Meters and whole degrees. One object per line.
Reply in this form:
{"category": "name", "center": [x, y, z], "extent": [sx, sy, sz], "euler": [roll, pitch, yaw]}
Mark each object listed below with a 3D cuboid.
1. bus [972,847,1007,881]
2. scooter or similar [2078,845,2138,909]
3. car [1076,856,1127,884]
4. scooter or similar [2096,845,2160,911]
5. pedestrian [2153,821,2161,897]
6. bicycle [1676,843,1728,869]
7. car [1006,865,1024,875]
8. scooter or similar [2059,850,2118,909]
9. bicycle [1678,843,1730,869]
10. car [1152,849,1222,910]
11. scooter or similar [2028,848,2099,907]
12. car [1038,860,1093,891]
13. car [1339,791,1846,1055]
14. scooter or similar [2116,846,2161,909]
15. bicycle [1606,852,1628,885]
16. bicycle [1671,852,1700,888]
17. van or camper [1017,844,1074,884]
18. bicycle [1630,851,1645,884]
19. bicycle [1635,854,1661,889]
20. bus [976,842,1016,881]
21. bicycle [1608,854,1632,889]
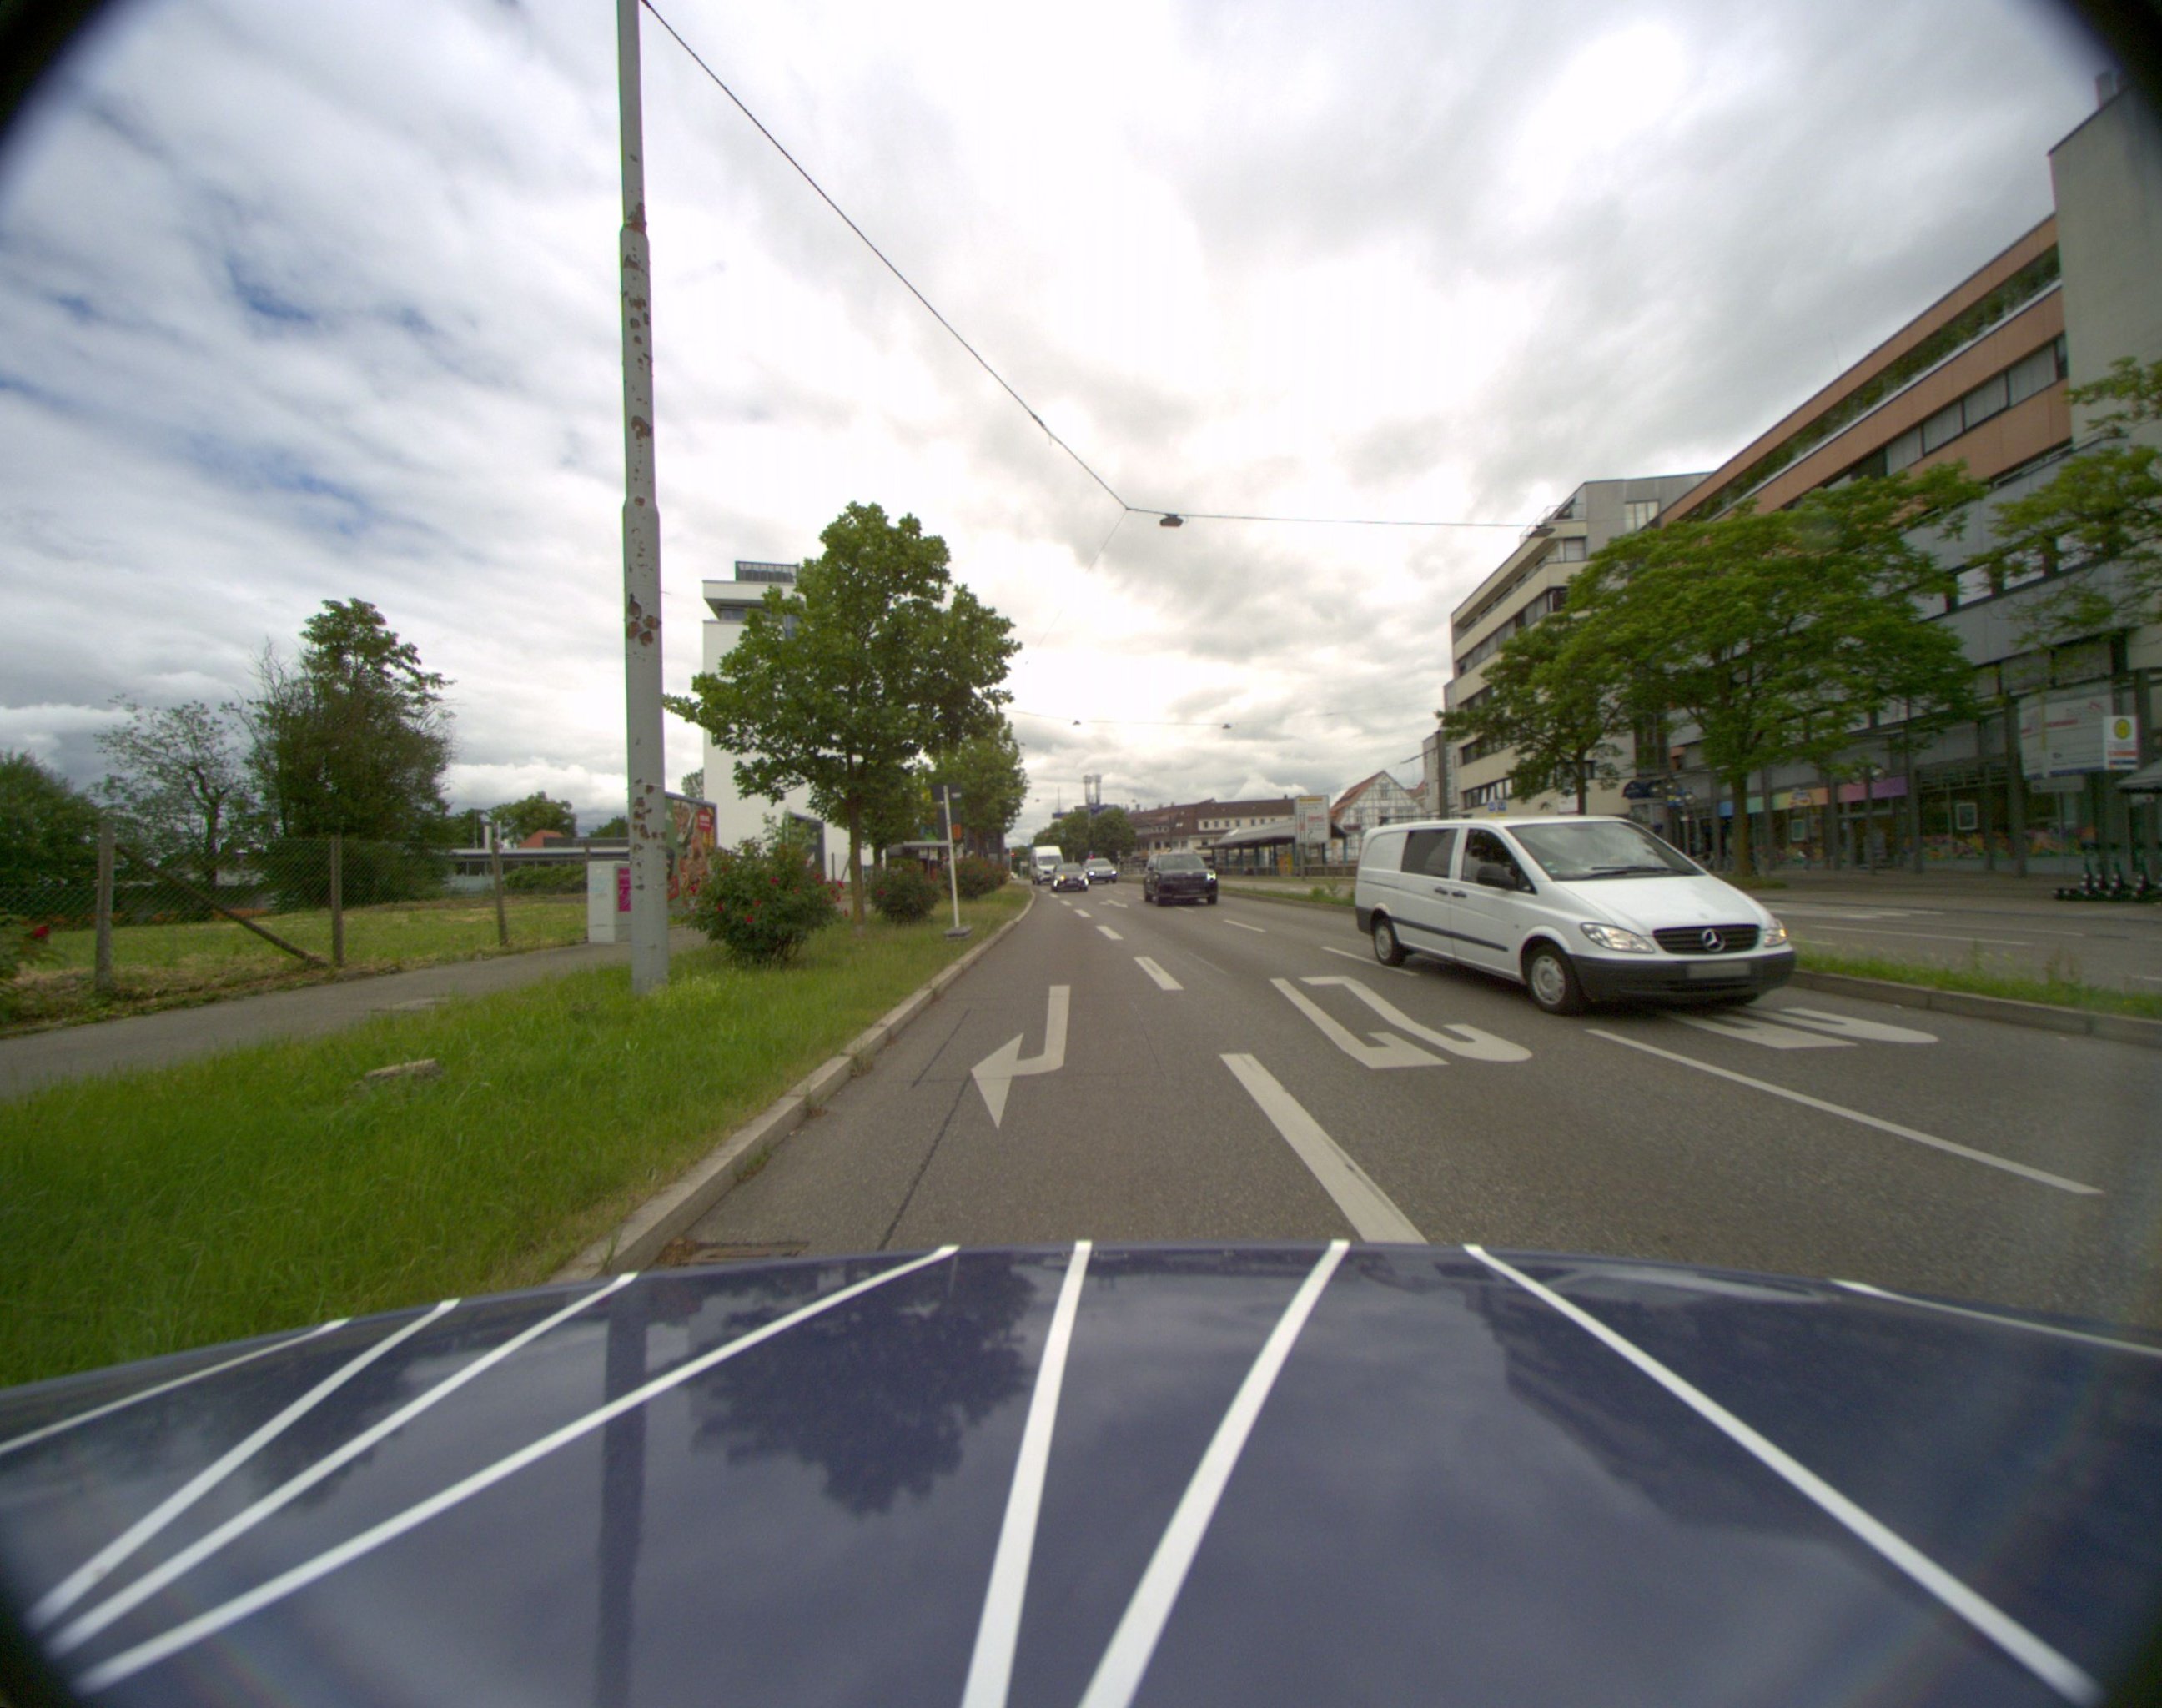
{"category": "bus", "center": [-9.252, 1.032, 75.826], "extent": [2.722, 3.089, 8.863], "euler": [2, -2, -11]}
{"category": "scooter or similar", "center": [22.636, 0.506, 16.750], "extent": [1.205, 1.377, 0.222], "euler": [-1, 0, -7]}
{"category": "car", "center": [1.263, 1.058, 49.864], "extent": [2.001, 1.640, 4.388], "euler": [-3, -1, -17]}
{"category": "scooter or similar", "center": [22.723, 0.514, 16.490], "extent": [1.205, 1.415, 0.259], "euler": [-1, 0, -7]}
{"category": "pedestrian", "center": [25.456, 0.107, 17.273], "extent": [0.735, 1.771, 0.997], "euler": [-1, 0, -4]}
{"category": "bicycle", "center": [32.764, 0.106, 40.117], "extent": [1.970, 1.311, 0.706], "euler": [-1, 0, 16]}
{"category": "car", "center": [-9.303, 2.273, 107.078], "extent": [2.000, 1.368, 3.996], "euler": [-1, 0, -11]}
{"category": "scooter or similar", "center": [22.561, 0.568, 17.017], "extent": [1.131, 1.287, 0.268], "euler": [-1, 0, -8]}
{"category": "bicycle", "center": [32.160, 0.120, 39.236], "extent": [1.970, 1.311, 0.706], "euler": [-1, 0, 16]}
{"category": "car", "center": [3.441, 0.780, 25.461], "extent": [1.926, 1.741, 4.680], "euler": [-3, 0, 4]}
{"category": "scooter or similar", "center": [22.462, 0.532, 17.368], "extent": [1.325, 1.262, 0.339], "euler": [-3, 0, -7]}
{"category": "car", "center": [-0.858, 1.113, 39.285], "extent": [1.866, 1.516, 3.995], "euler": [-1, -1, -16]}
{"category": "car", "center": [4.961, 0.546, 8.565], "extent": [1.879, 2.002, 5.073], "euler": [-3, 0, -6]}
{"category": "scooter or similar", "center": [22.756, 0.492, 16.193], "extent": [1.205, 1.312, 0.259], "euler": [-1, 0, -7]}
{"category": "bicycle", "center": [20.978, 0.565, 29.746], "extent": [0.625, 1.246, 1.687], "euler": [-1, 0, 34]}
{"category": "bicycle", "center": [21.637, 0.551, 27.205], "extent": [0.625, 1.246, 1.687], "euler": [-1, 0, 33]}
{"category": "van or camper", "center": [-2.677, 0.744, 55.057], "extent": [2.283, 2.689, 6.986], "euler": [-1, -1, -18]}
{"category": "bicycle", "center": [21.198, 0.504, 28.952], "extent": [0.431, 1.246, 1.474], "euler": [-1, 0, 35]}
{"category": "bicycle", "center": [20.698, 0.615, 27.773], "extent": [0.625, 1.246, 1.687], "euler": [-1, 0, 33]}
{"category": "bus", "center": [-7.595, 0.770, 66.973], "extent": [2.722, 3.144, 9.121], "euler": [2, -2, -11]}
{"category": "bicycle", "center": [19.700, 0.628, 27.781], "extent": [0.625, 1.246, 1.687], "euler": [-1, 0, 33]}
